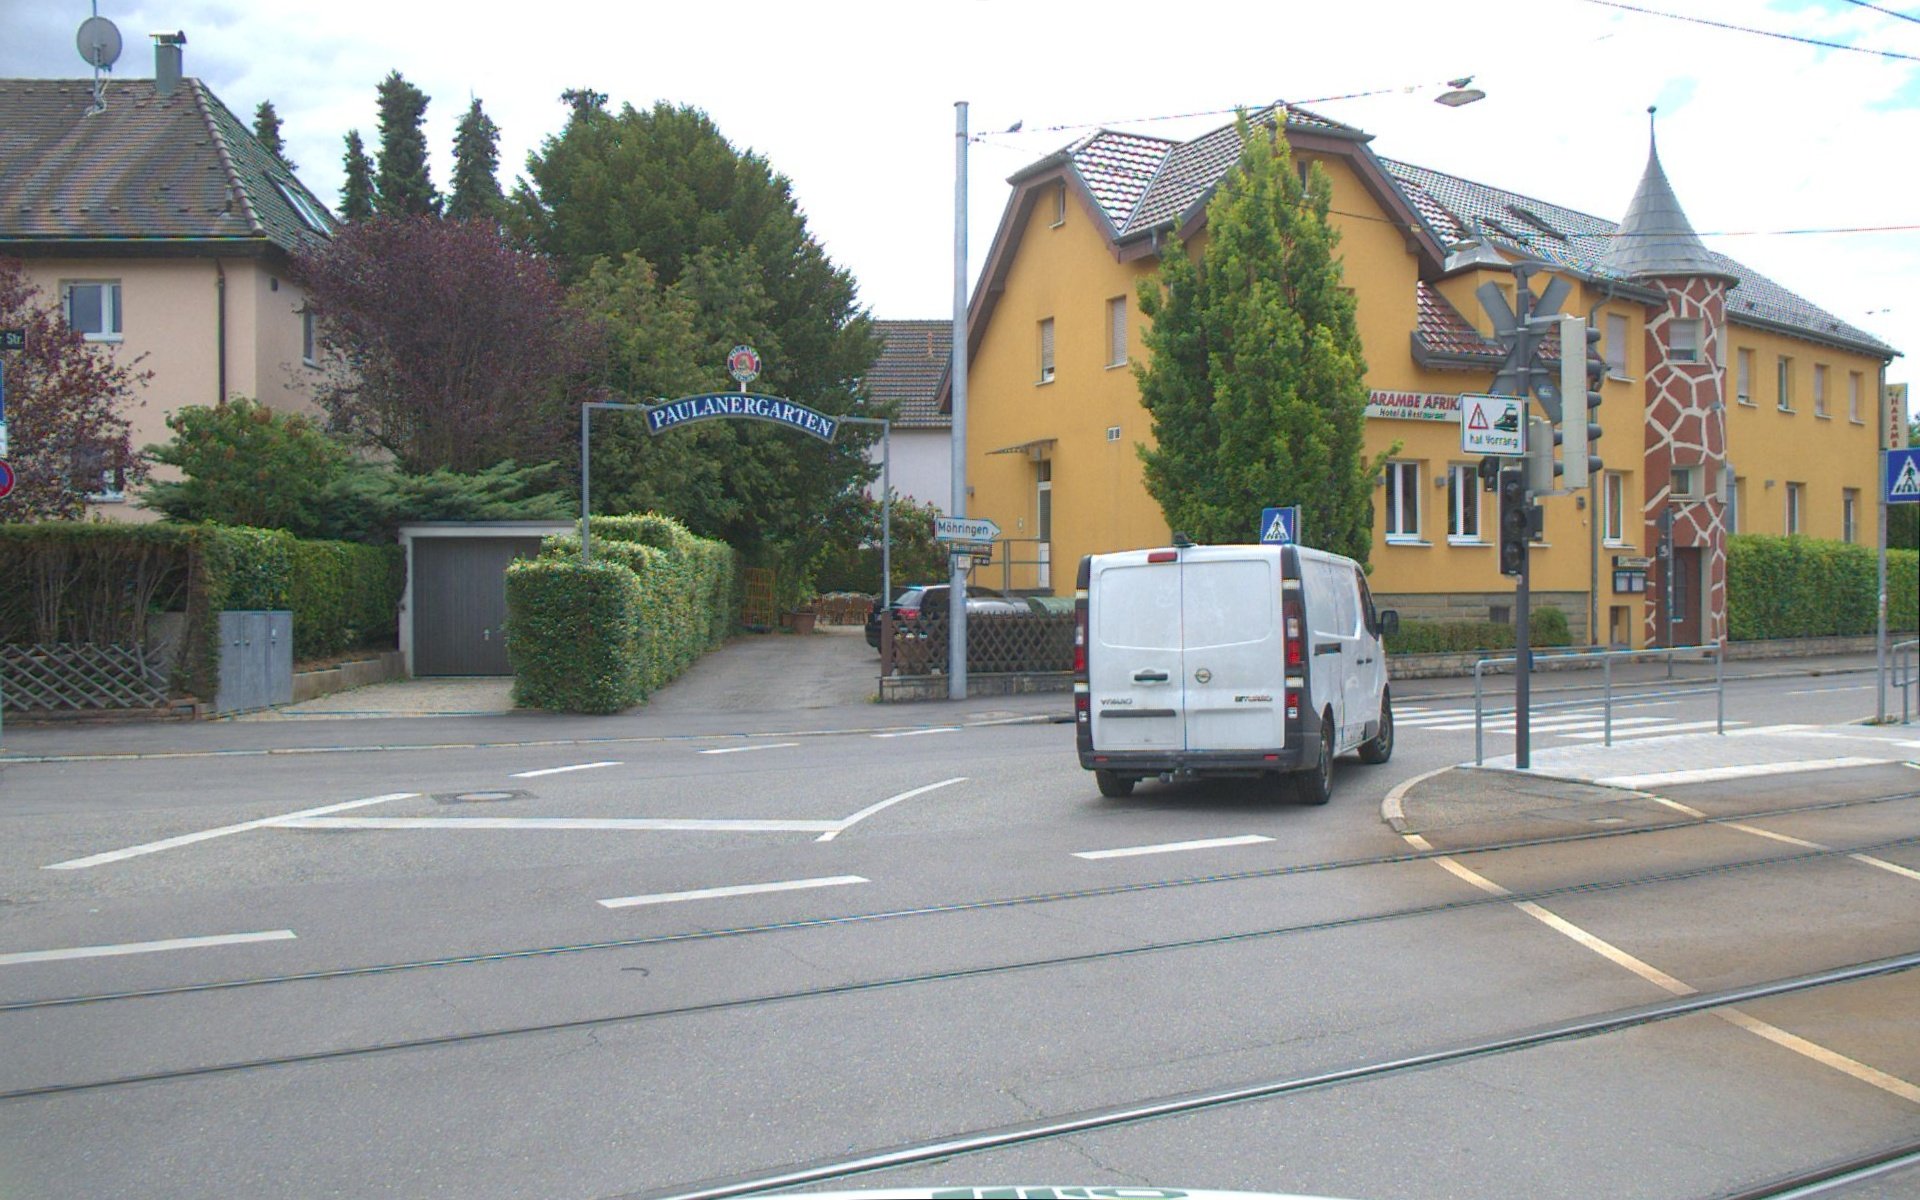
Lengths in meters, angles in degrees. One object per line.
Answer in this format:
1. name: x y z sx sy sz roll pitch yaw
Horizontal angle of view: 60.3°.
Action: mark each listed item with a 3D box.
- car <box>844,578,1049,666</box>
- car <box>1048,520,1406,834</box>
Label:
1. car: -0.234 0.376 31.741 3.636 1.452 1.707 -2 4 -35
2. car: 2.557 0.488 14.368 2.073 2.171 5.442 1 1 20
